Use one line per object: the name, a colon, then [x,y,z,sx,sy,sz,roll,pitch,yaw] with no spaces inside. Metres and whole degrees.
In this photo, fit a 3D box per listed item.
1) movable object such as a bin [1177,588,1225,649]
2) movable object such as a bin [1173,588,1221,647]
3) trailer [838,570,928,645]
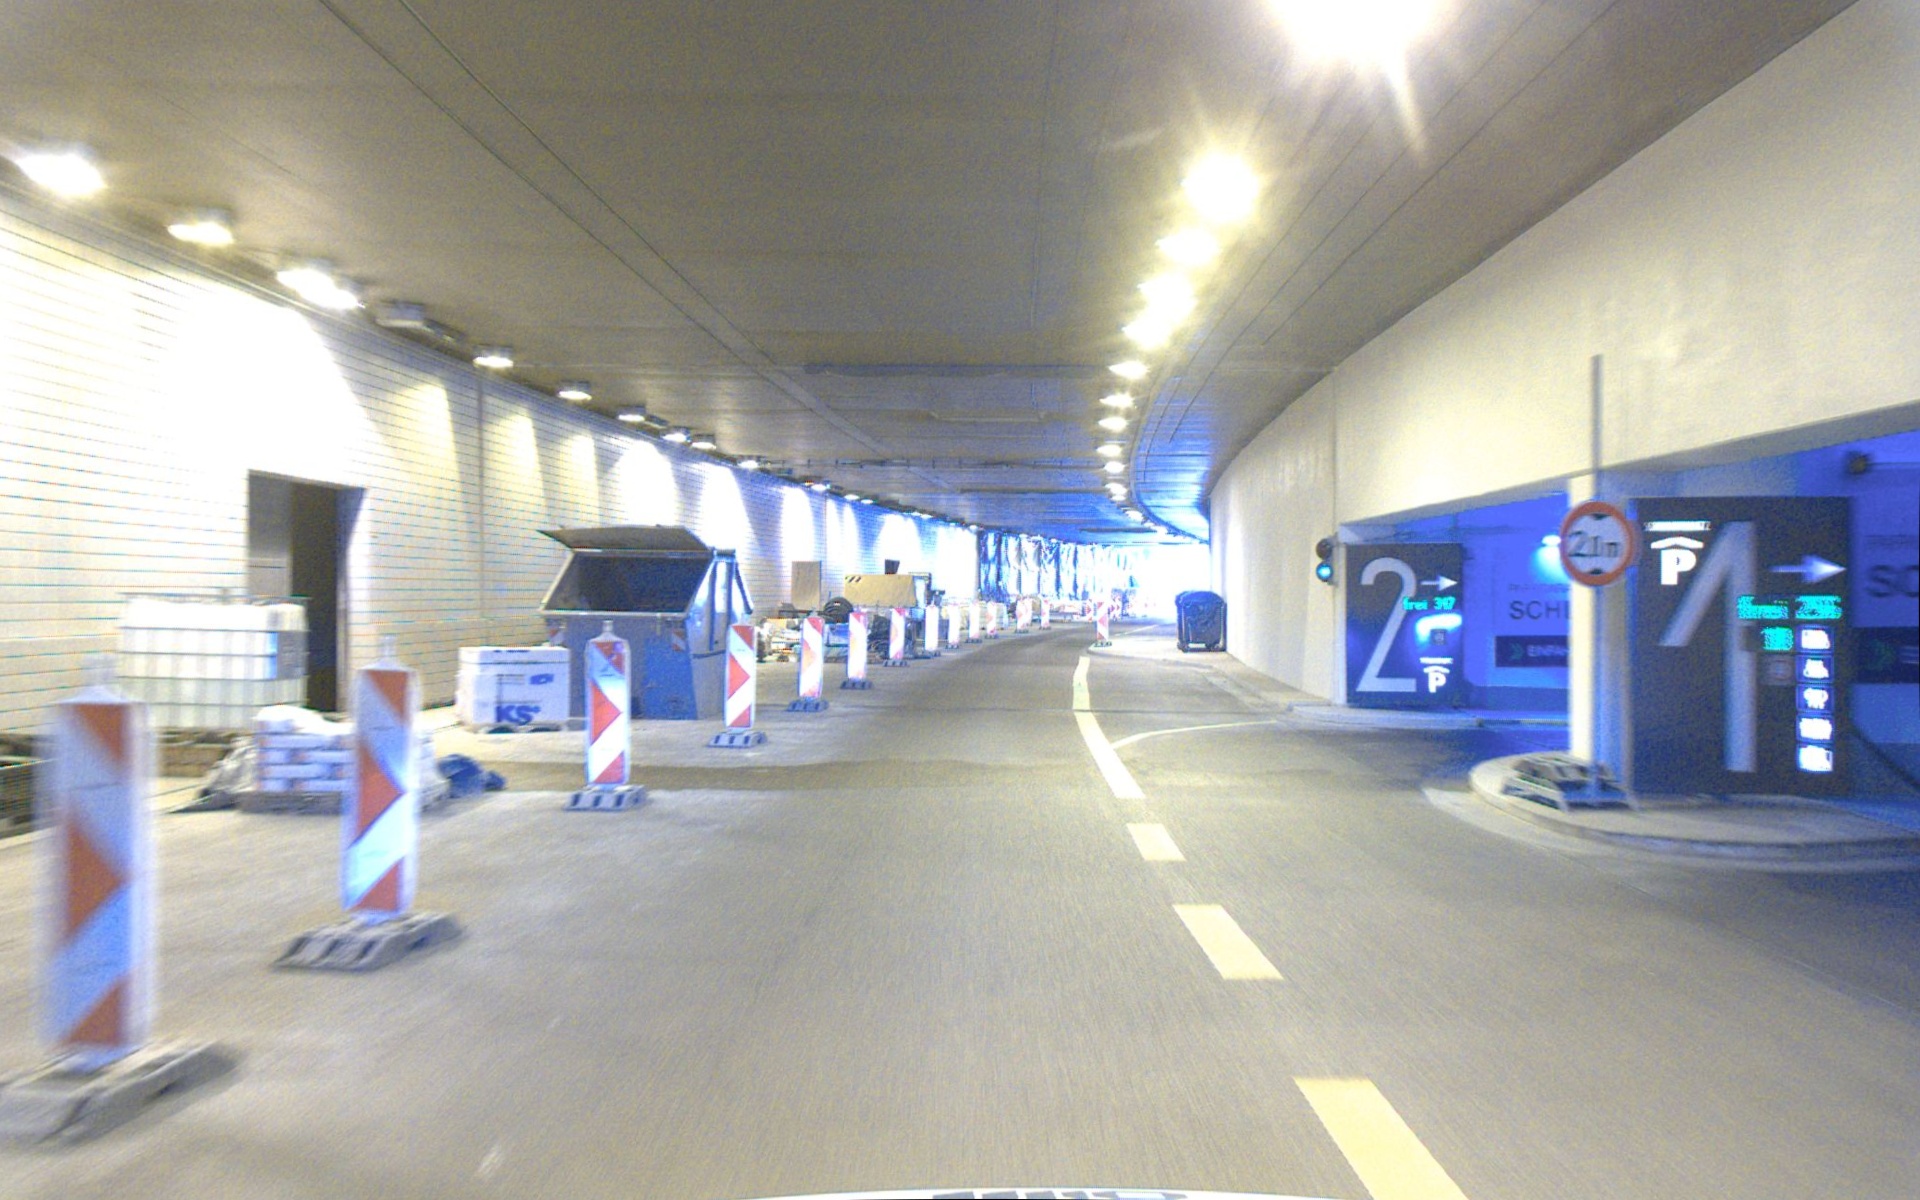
movable object such as a bin: [5.853,0.446,40.206,1.074,1.470,1.323,0,0,5]
movable object such as a bin: [5.946,0.438,41.622,1.121,1.470,1.365,0,0,5]
trailer: [-2.163,0.200,47.235,2.162,2.049,3.468,0,0,4]
